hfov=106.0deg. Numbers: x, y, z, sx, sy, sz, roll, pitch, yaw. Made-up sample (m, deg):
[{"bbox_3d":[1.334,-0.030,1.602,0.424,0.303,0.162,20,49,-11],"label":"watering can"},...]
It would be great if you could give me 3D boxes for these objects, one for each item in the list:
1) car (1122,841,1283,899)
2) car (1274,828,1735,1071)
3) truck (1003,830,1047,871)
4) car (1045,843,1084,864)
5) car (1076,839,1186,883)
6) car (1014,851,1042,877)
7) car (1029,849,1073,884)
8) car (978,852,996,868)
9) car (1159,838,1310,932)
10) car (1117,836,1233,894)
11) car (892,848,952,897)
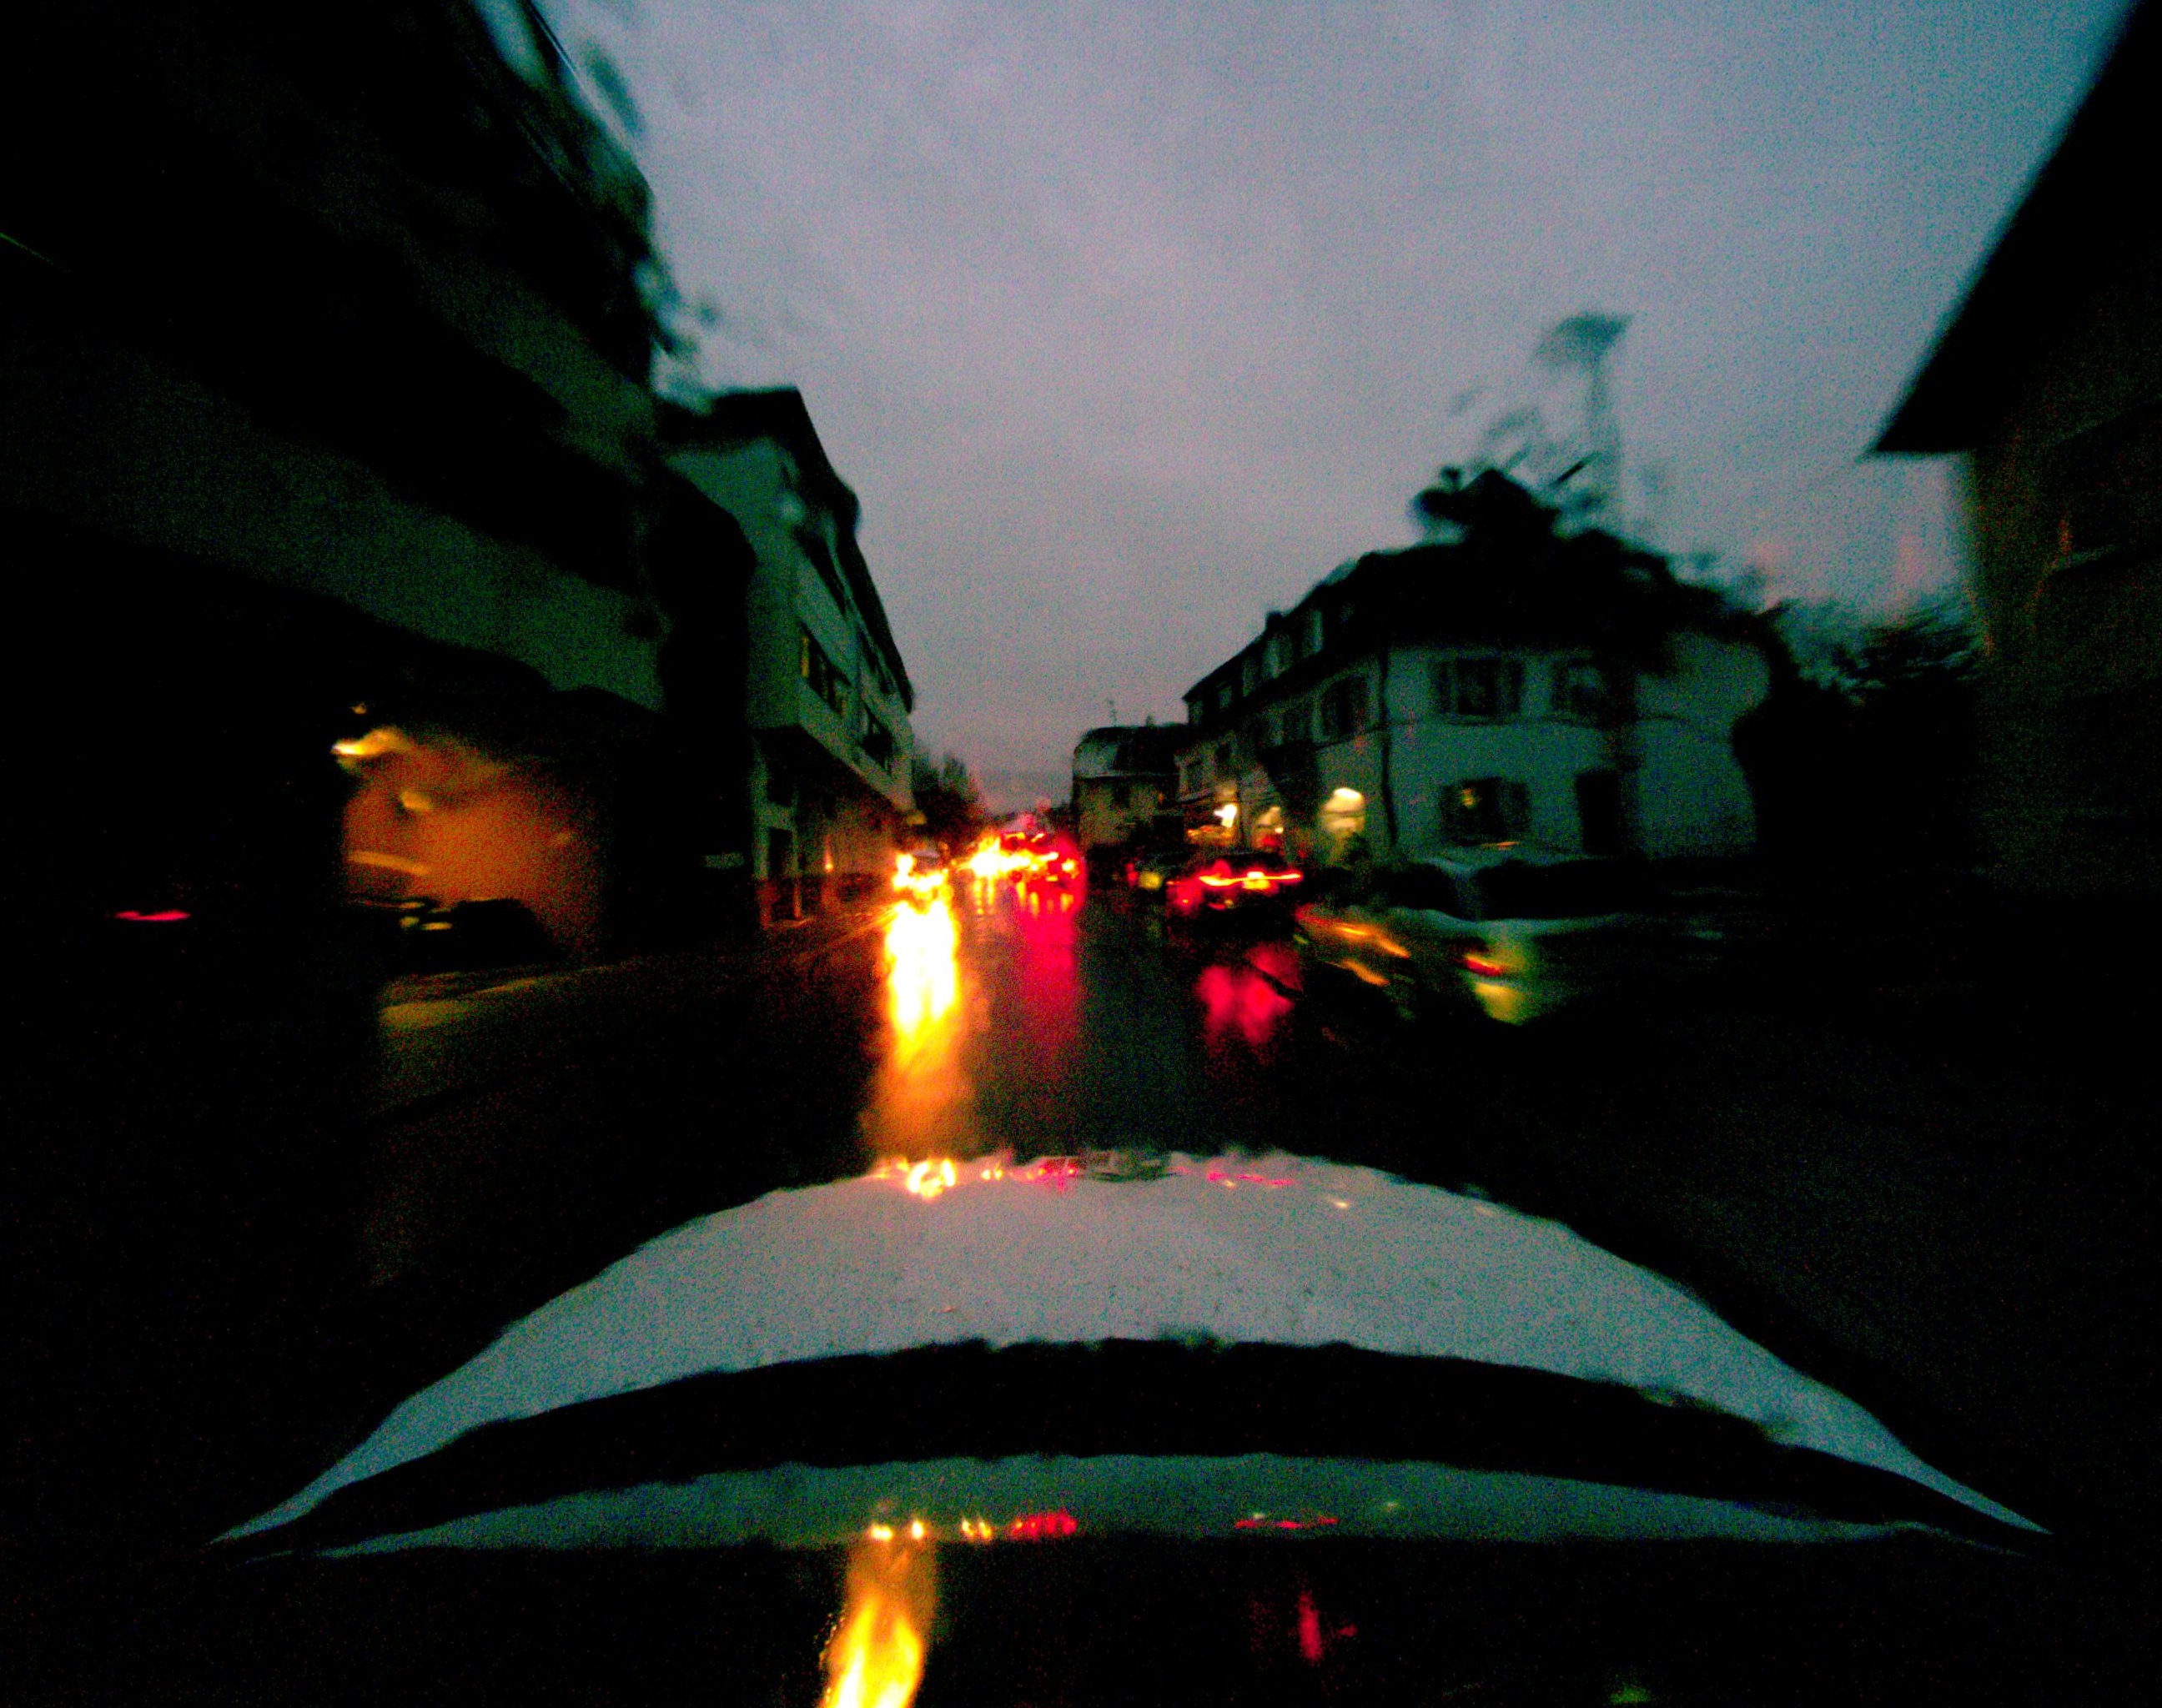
[{"bbox_3d":[3.636,0.446,24.726,4.463,1.473,1.893,-3,1,-8],"label":"car"},{"bbox_3d":[3.272,0.606,7.514,1.789,1.460,4.528,-3,0,-1],"label":"car"},{"bbox_3d":[-4.680,-0.284,66.667,3.014,3.128,7.977,-1,0,-8],"label":"truck"},{"bbox_3d":[-1.727,-0.032,86.387,4.083,2.163,1.913,-1,0,0],"label":"car"},{"bbox_3d":[2.206,0.279,36.785,4.605,1.775,1.938,-2,1,-11],"label":"car"},{"bbox_3d":[-3.275,0.578,49.955,1.636,1.481,3.264,0,0,-6],"label":"car"},{"bbox_3d":[-1.371,0.530,35.998,1.636,1.481,3.370,0,0,-7],"label":"car"},{"bbox_3d":[-9.370,0.619,81.229,1.635,1.535,3.400,-1,0,-6],"label":"car"},{"bbox_3d":[2.904,0.524,16.526,1.878,1.547,4.665,-3,1,-4],"label":"car"},{"bbox_3d":[3.155,0.357,27.579,3.506,1.680,1.709,-3,1,-12],"label":"car"},{"bbox_3d":[-5.757,0.629,29.864,1.792,1.642,3.804,0,1,-6],"label":"car"}]
